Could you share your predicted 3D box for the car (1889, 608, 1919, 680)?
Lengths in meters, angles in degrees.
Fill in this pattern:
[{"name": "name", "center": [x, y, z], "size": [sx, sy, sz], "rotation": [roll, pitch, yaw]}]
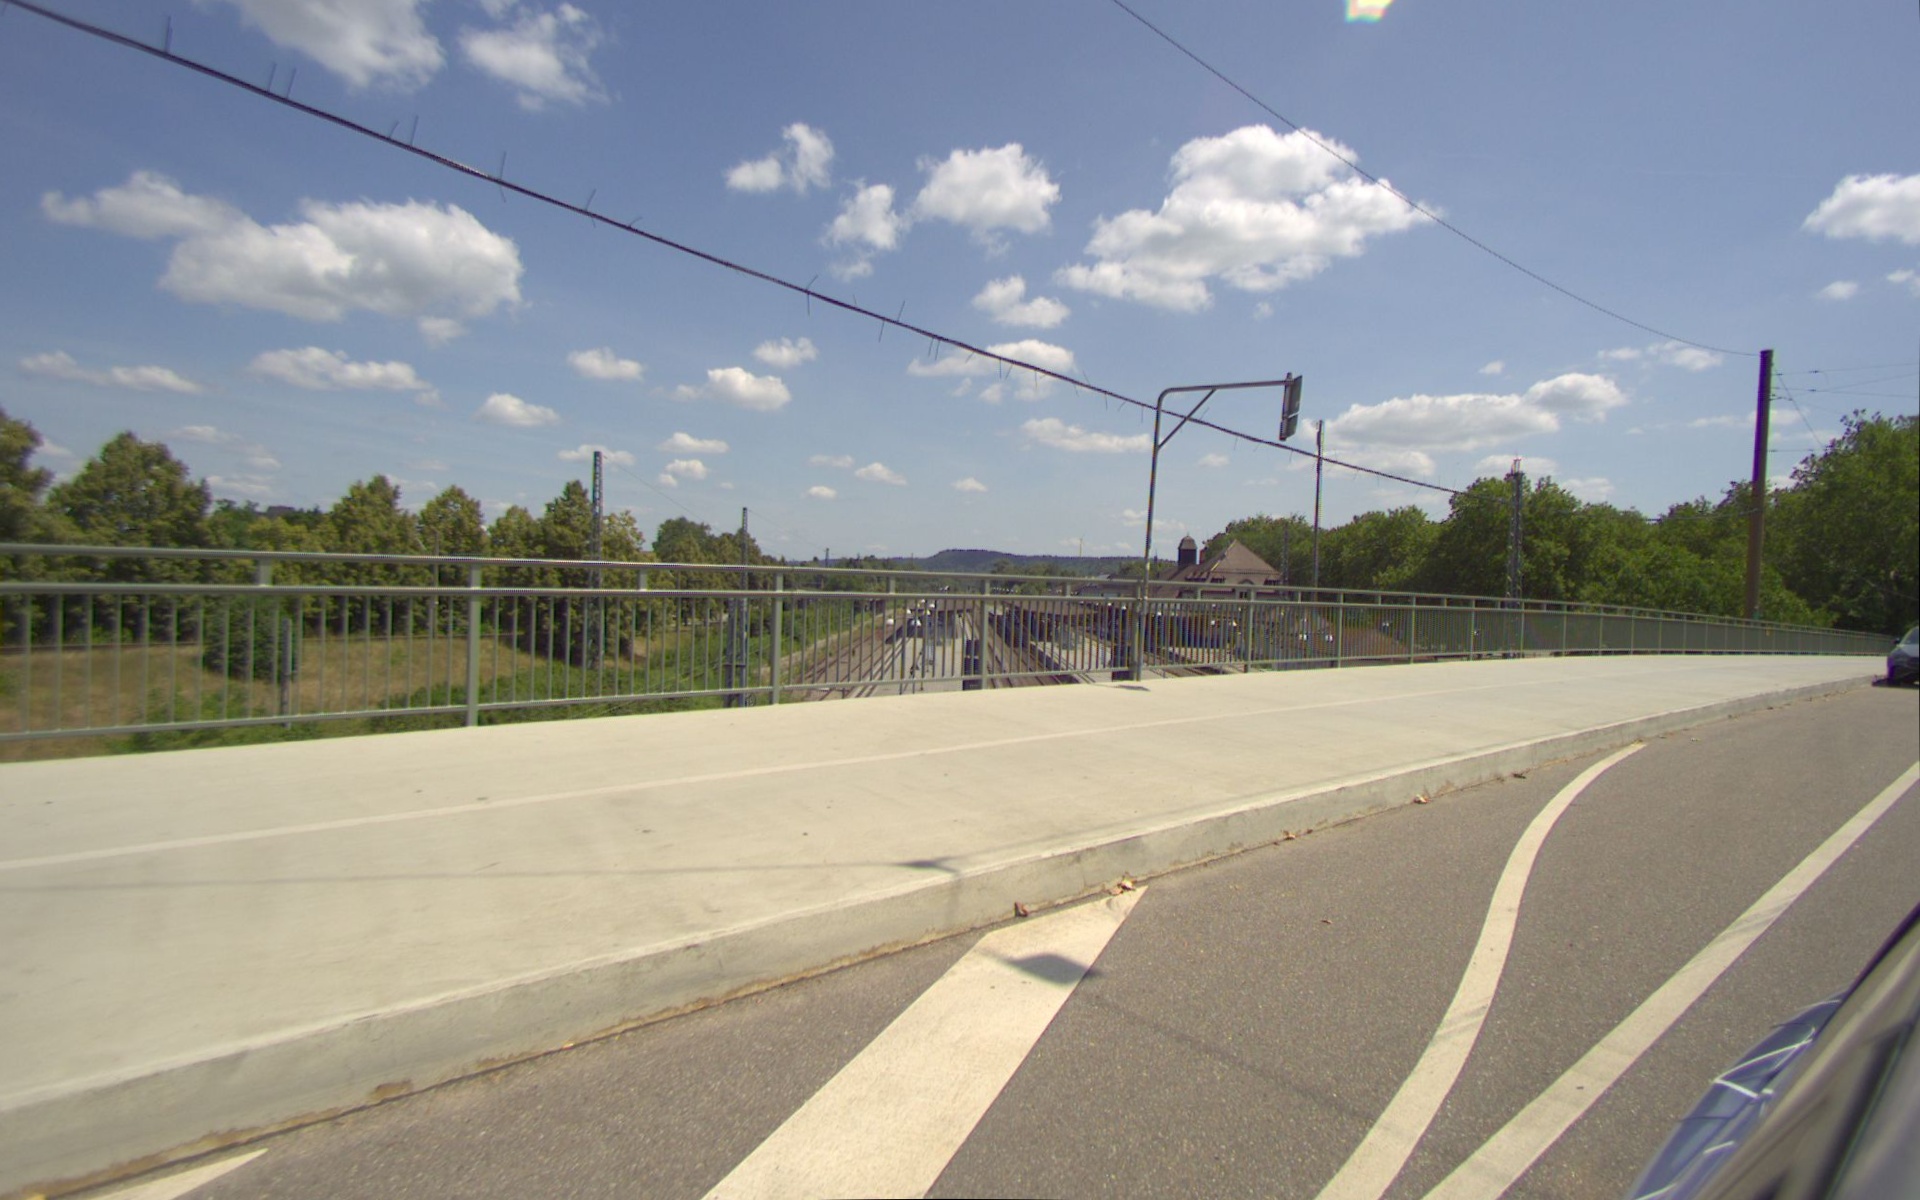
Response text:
[{"name": "car", "center": [23.189, 1.067, 23.483], "size": [4.639, 1.572, 1.996], "rotation": [3, -2, -42]}]
